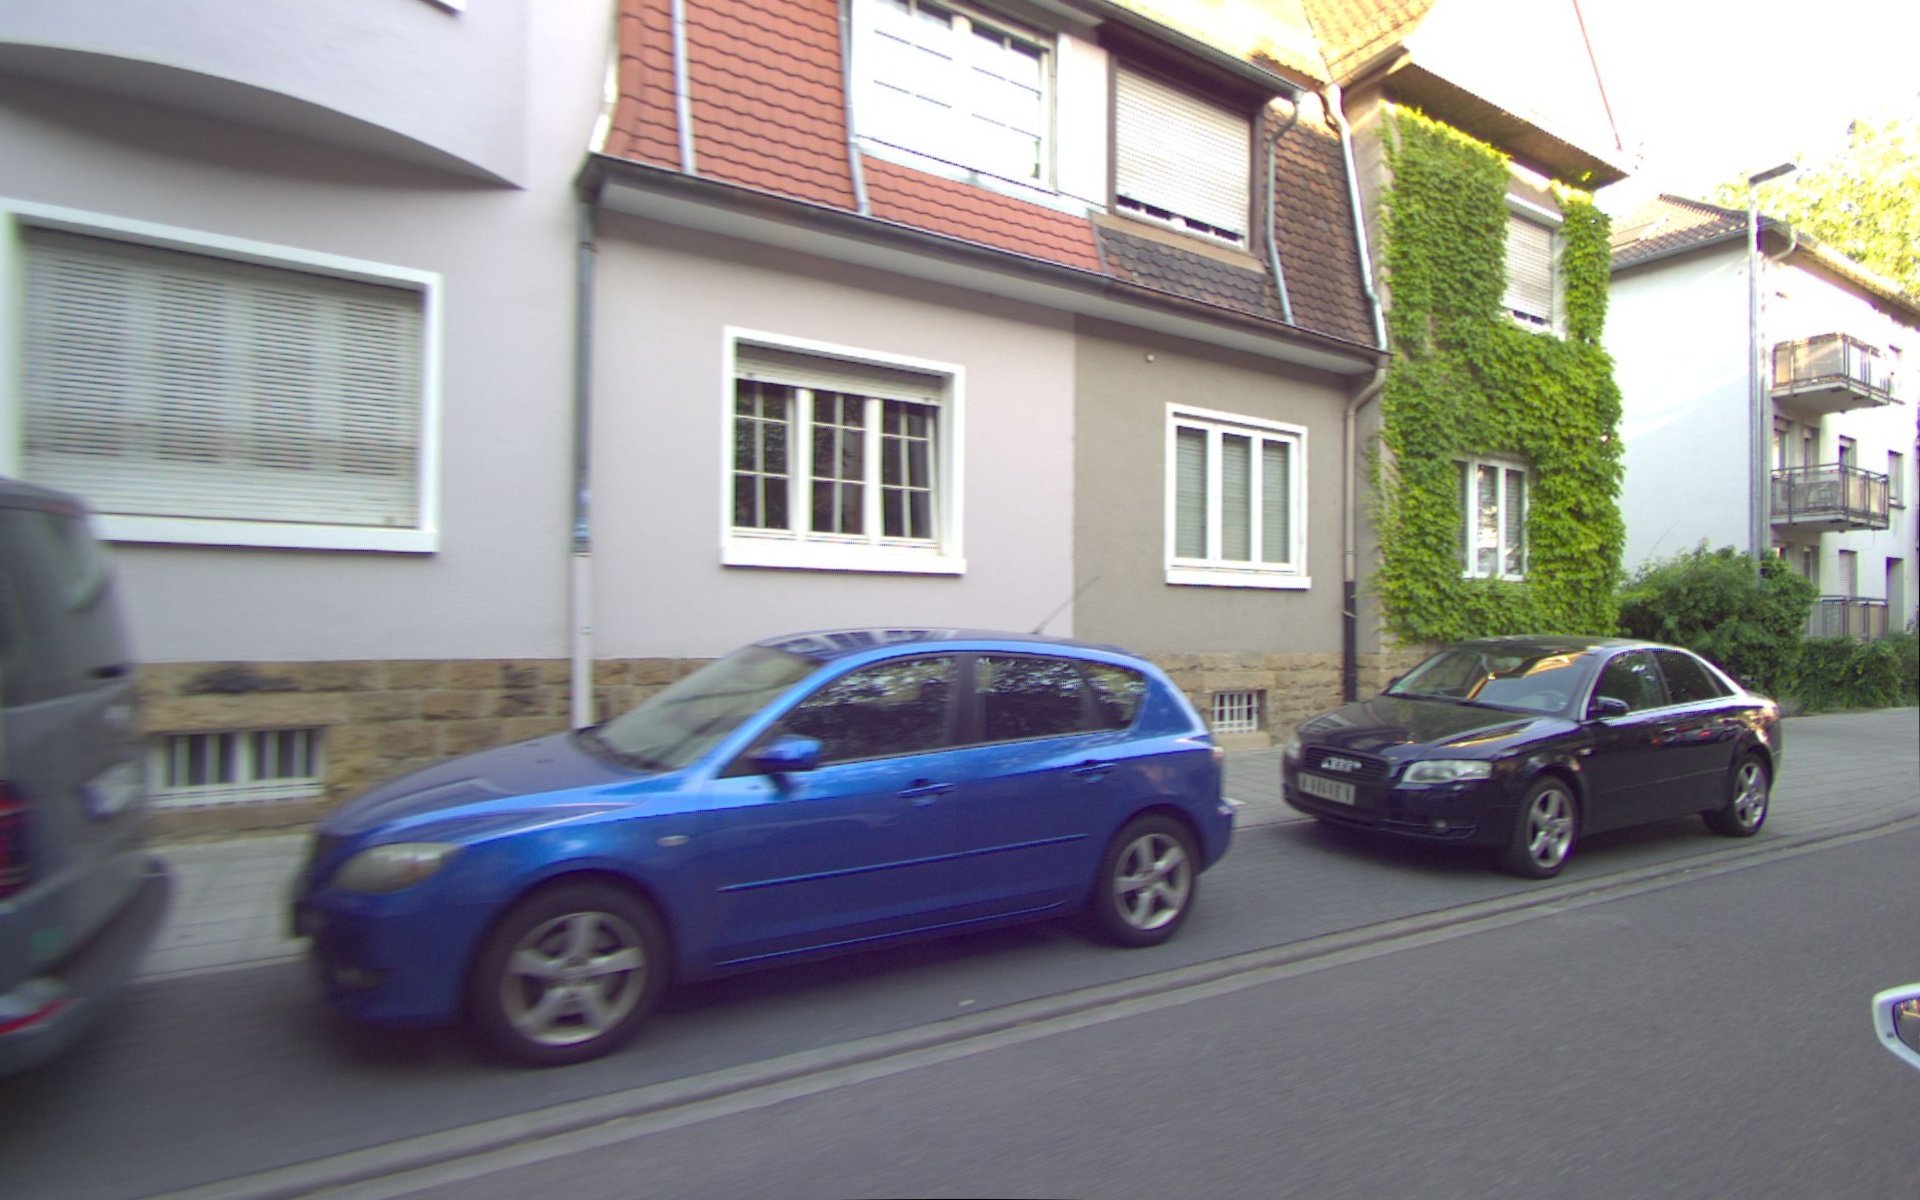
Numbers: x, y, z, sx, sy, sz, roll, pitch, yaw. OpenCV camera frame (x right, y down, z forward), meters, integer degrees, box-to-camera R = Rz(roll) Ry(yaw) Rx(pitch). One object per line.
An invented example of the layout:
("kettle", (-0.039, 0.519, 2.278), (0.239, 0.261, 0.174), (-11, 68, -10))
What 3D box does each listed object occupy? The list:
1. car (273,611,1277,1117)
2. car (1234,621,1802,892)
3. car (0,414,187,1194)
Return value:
("car", (-0.620, 0.824, 4.754), (4.187, 1.466, 1.646), (1, 1, -30))
("car", (4.218, 0.918, 7.419), (4.305, 1.466, 1.687), (1, 0, -30))
("car", (-4.878, 0.476, 2.205), (4.795, 1.974, 1.972), (1, 0, -31))
